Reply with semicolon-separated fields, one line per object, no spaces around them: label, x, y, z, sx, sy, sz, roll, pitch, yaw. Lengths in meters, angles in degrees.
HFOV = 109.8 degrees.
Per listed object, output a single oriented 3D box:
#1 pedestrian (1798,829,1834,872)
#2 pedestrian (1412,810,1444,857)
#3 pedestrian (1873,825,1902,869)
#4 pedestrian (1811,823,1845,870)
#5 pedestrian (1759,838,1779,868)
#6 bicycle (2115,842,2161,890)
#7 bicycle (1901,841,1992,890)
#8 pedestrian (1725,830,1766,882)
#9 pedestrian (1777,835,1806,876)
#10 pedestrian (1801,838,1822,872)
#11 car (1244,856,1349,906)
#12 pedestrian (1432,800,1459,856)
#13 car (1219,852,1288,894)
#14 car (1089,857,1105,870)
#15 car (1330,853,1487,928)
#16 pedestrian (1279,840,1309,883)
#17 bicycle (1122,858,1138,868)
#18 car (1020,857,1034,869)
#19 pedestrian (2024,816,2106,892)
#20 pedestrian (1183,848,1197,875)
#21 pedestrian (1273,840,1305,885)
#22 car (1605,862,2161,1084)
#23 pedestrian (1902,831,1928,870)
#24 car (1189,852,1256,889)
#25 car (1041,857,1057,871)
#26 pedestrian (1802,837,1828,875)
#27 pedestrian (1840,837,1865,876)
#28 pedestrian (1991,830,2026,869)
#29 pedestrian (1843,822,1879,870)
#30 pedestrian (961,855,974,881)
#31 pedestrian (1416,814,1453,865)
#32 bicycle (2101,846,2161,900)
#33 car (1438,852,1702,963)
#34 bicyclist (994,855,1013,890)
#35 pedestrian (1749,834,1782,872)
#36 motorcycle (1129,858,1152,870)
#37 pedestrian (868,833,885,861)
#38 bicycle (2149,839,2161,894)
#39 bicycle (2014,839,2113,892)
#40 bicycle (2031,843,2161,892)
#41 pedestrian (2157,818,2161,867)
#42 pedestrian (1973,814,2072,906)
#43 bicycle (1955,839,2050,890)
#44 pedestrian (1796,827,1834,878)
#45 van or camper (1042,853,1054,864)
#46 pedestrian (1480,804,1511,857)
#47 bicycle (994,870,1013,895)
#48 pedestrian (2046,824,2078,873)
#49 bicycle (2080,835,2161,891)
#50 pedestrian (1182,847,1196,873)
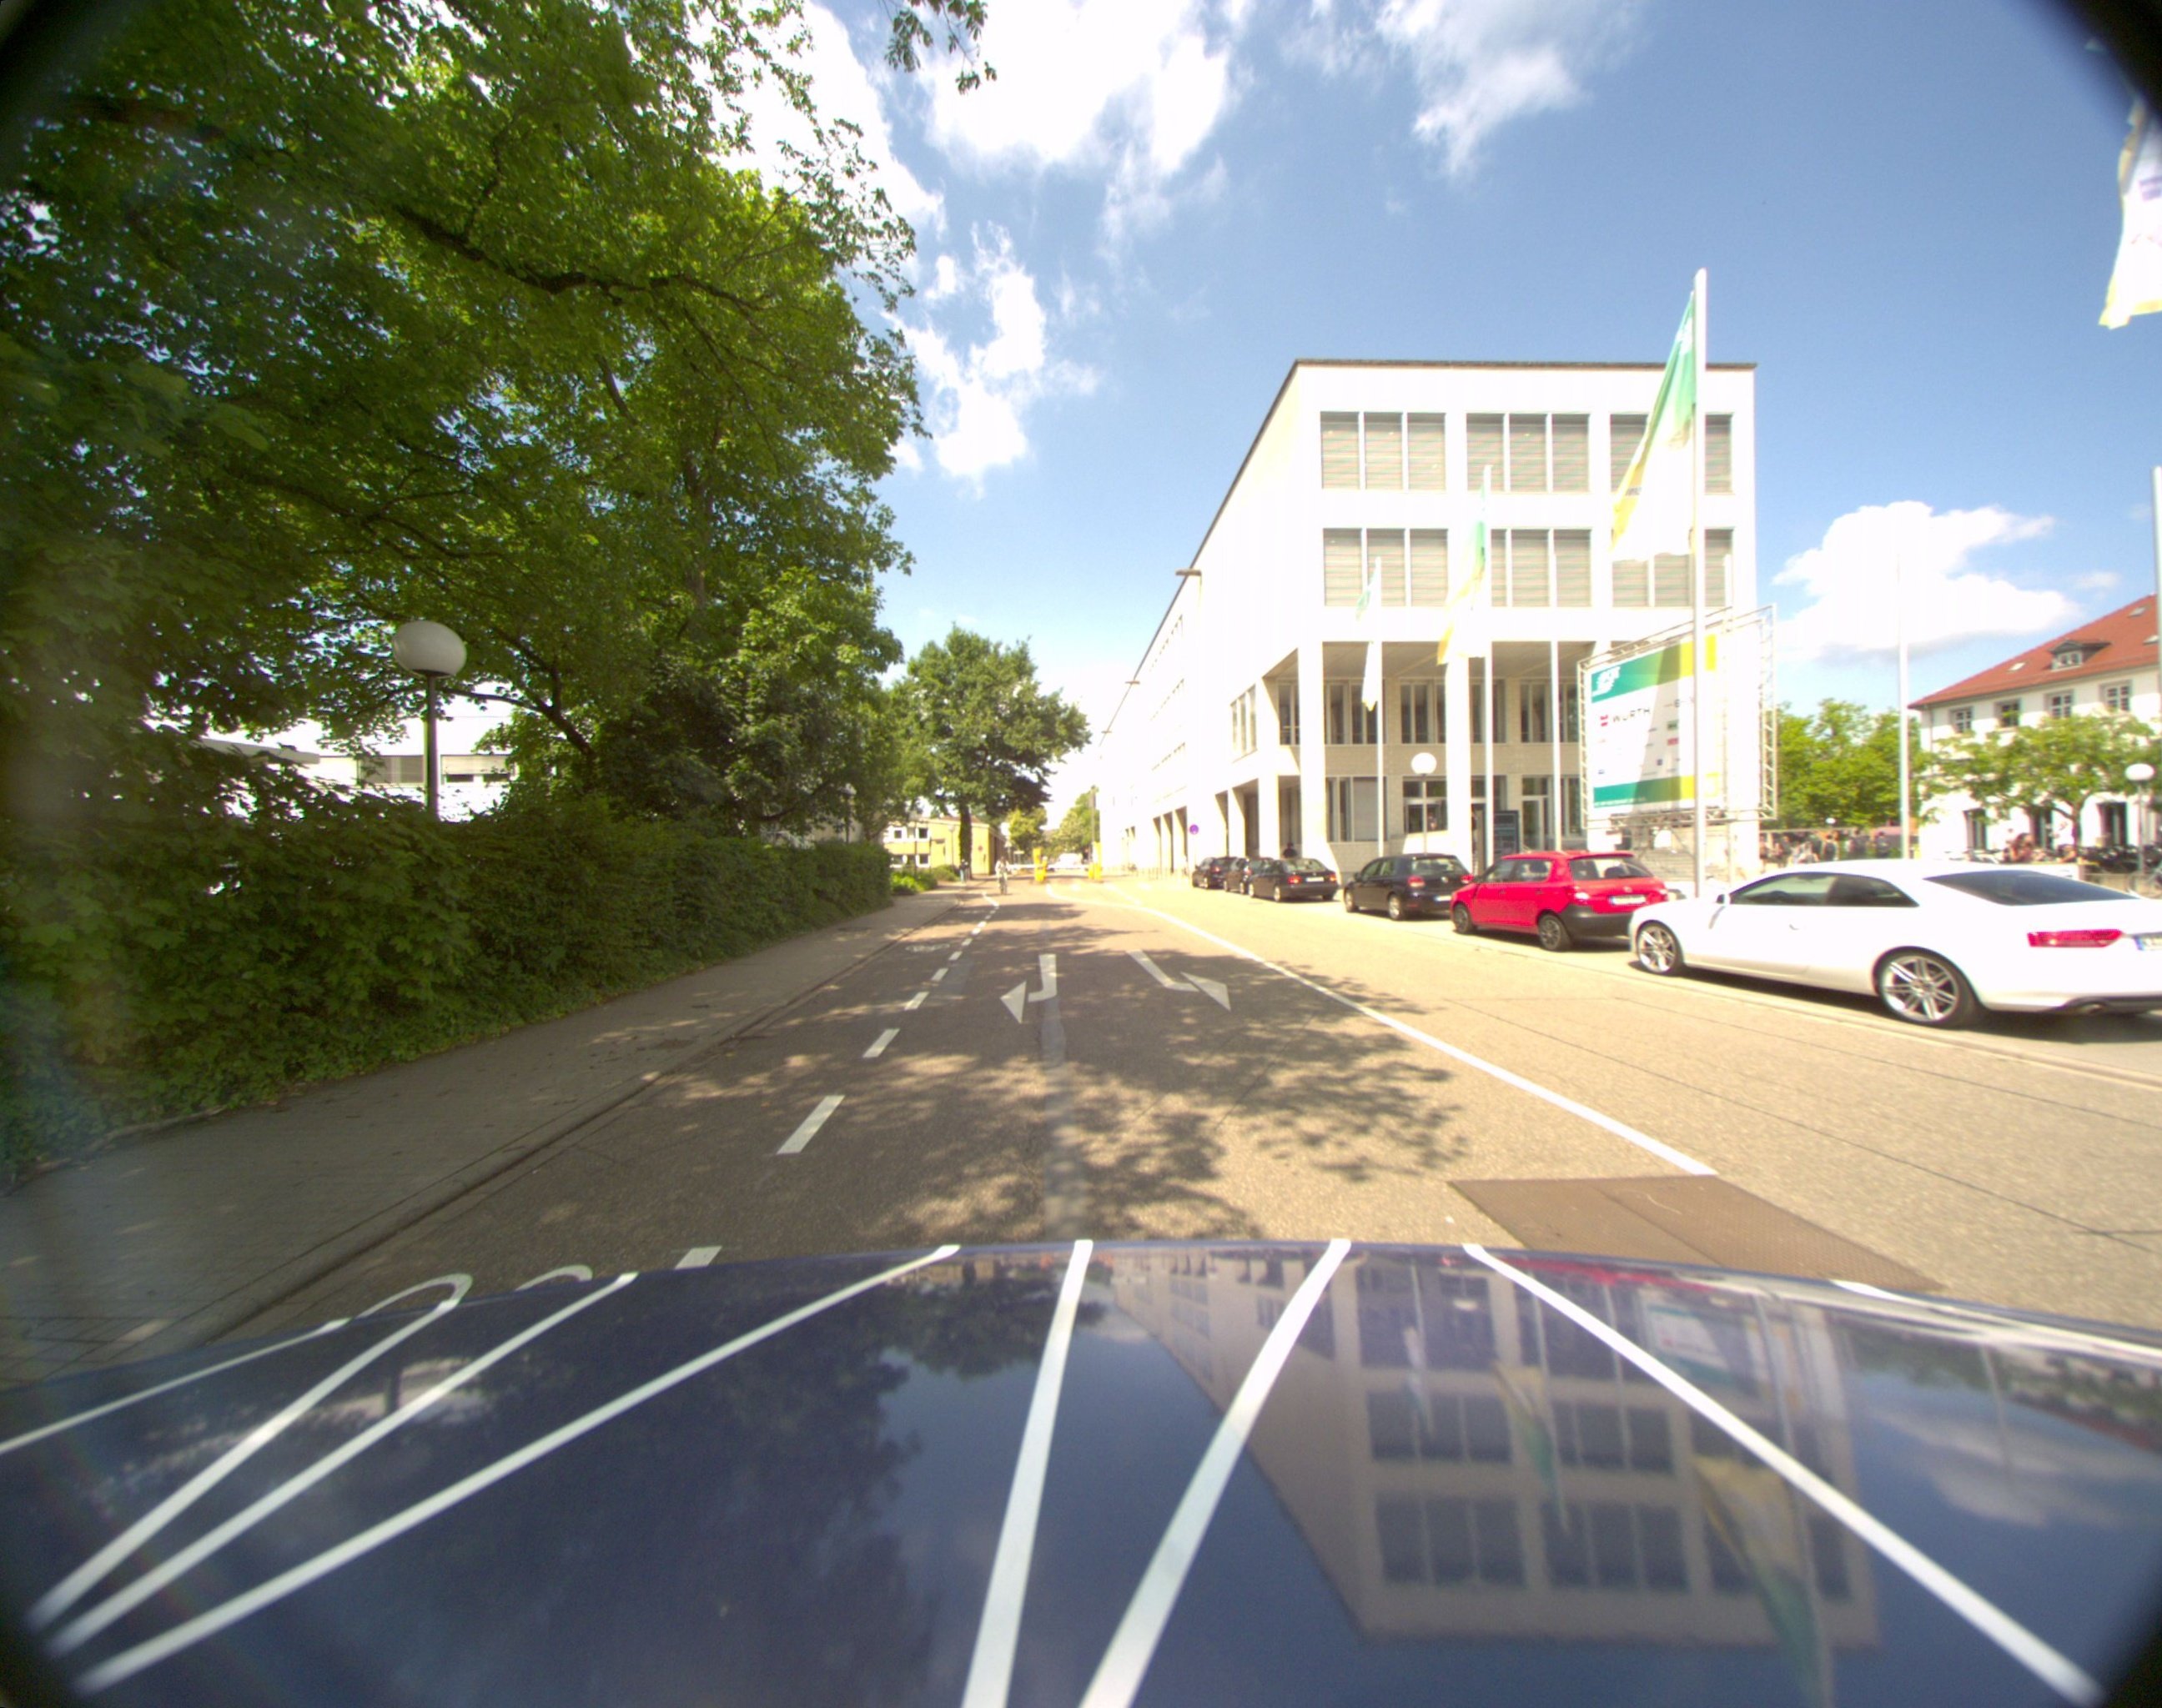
pedestrian;30.886;-0.160;31.943;0.759;1.763;0.738;-1;0;-3
pedestrian;15.109;-0.888;33.115;0.746;2.002;0.979;-2;1;-24
pedestrian;34.146;-0.295;32.172;0.701;1.826;0.759;-2;1;-39
pedestrian;32.259;-0.321;32.823;0.760;2.002;0.737;-2;1;8
pedestrian;44.292;-0.055;48.935;0.738;1.922;0.815;-2;1;-39
bicycle;32.645;0.354;22.366;1.145;1.403;2.955;-2;0;19
bicycle;27.635;0.341;24.255;2.955;1.403;1.146;-2;1;-25
pedestrian;23.042;0.062;26.340;0.738;1.746;0.759;-1;0;-12
pedestrian;34.582;0.066;36.989;0.888;1.973;0.841;-1;1;33
pedestrian;41.615;0.050;43.273;0.738;1.874;0.708;-2;1;-36
car;6.916;0.797;25.018;1.864;1.370;5.015;-3;0;-1
pedestrian;16.086;-1.140;33.521;0.761;2.408;0.736;-2;1;-29
car;6.755;0.704;30.106;1.643;1.458;3.705;-3;0;-3
car;1.969;1.190;95.265;1.731;1.526;4.404;-3;1;-3
car;7.535;0.763;17.961;1.752;1.458;4.195;-3;0;-1
pedestrian;10.120;0.355;36.188;0.987;2.002;1.164;-1;0;-7
bicycle;5.576;1.041;86.068;1.644;1.080;0.607;-2;0;-8
car;-6.803;1.129;95.834;1.761;1.559;3.816;0;0;-3
pedestrian;25.884;0.008;20.005;0.988;1.929;0.944;-1;0;-6
pedestrian;8.131;0.532;56.931;0.858;2.002;0.881;-2;1;-1
pedestrian;9.495;0.370;34.728;0.987;2.002;1.164;-1;0;-7
car;7.779;0.846;7.586;1.681;1.387;4.661;-3;0;-2
pedestrian;46.703;-0.189;42.539;0.738;2.131;0.888;-2;1;-36
car;6.324;0.713;34.482;1.864;1.458;4.717;-3;0;-3
car;-4.127;1.310;98.913;1.999;1.805;3.999;-1;0;-2
pedestrian;39.766;0.117;41.178;0.738;2.002;0.888;-2;1;-36
pedestrian;39.549;0.132;38.934;0.738;2.002;0.759;-2;1;-36
pedestrian;48.371;-0.232;39.632;0.889;2.002;0.737;-2;1;2
pedestrian;33.024;-0.344;32.175;0.760;2.002;0.737;-2;1;8
pedestrian;-7.257;0.881;48.554;0.741;1.665;1.256;-1;0;-6
pedestrian;14.166;-0.574;30.459;0.980;2.002;0.910;-2;1;-3
bicycle;24.852;0.425;17.200;0.651;1.208;2.094;-2;0;-3
car;7.767;0.750;12.577;1.681;1.458;3.910;-3;0;-2
bicyclist;-3.365;0.800;32.947;0.781;1.478;0.695;-1;0;-5
pedestrian;29.565;-0.051;32.818;0.732;1.604;0.736;-2;1;-2
motorcycle;6.070;1.036;76.916;2.173;1.131;0.774;-1;0;-13
pedestrian;-14.588;-0.514;54.311;0.929;2.002;0.949;-1;0;1
bicycle;29.111;0.279;19.686;2.955;1.403;1.146;-2;1;-25
bicycle;28.569;0.317;22.084;2.955;1.403;1.146;-2;1;-25
bicycle;31.744;0.377;23.756;1.145;1.403;2.955;-2;0;19
pedestrian;49.313;-0.521;34.124;0.972;2.187;0.962;-1;0;-26
pedestrian;21.212;0.124;17.139;1.059;2.002;0.987;-1;0;-6
bicycle;28.106;0.301;23.170;2.955;1.403;1.146;-2;1;-25
pedestrian;25.976;-0.055;26.883;0.739;1.746;0.758;-1;0;-26
van or camper;-7.092;0.986;164.027;1.998;2.347;4.384;-1;0;3
pedestrian;16.941;-0.942;31.070;0.706;2.133;0.803;-2;1;-25
bicycle;-3.356;1.223;32.982;0.781;1.042;1.912;-1;0;-5
pedestrian;40.492;-0.220;31.361;0.738;2.002;0.759;-2;1;-36
bicycle;29.068;0.220;21.013;2.955;1.403;1.146;-2;1;-25
pedestrian;8.581;0.482;60.321;0.850;2.002;1.065;-1;0;-5
